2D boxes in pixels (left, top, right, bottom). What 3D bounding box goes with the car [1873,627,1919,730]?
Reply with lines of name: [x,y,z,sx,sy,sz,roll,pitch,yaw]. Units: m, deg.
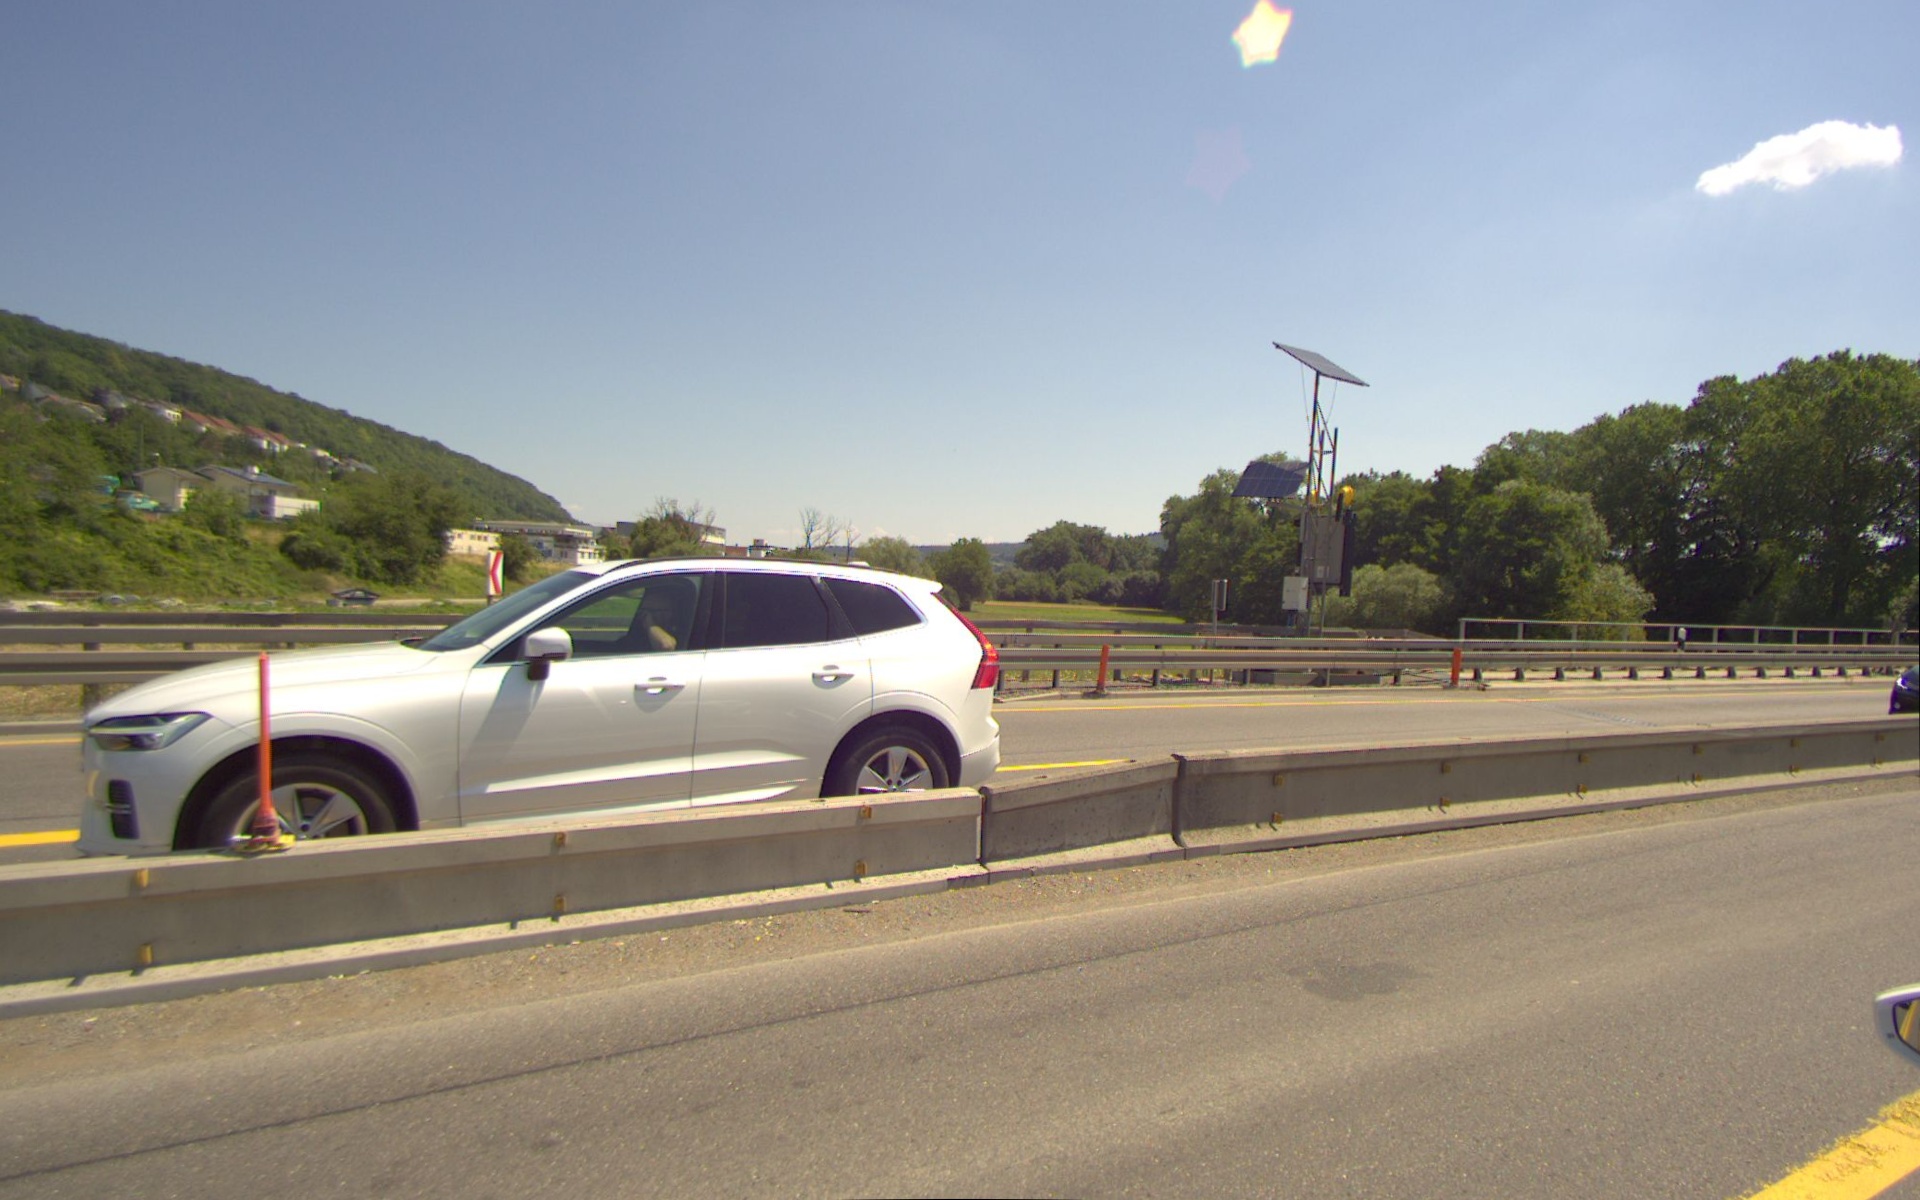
car: [15.281,1.164,14.486,4.383,1.383,1.662,2,1,-27]

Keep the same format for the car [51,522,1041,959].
car: [-1.914,0.492,5.737,4.515,1.669,1.812,0,2,-30]
